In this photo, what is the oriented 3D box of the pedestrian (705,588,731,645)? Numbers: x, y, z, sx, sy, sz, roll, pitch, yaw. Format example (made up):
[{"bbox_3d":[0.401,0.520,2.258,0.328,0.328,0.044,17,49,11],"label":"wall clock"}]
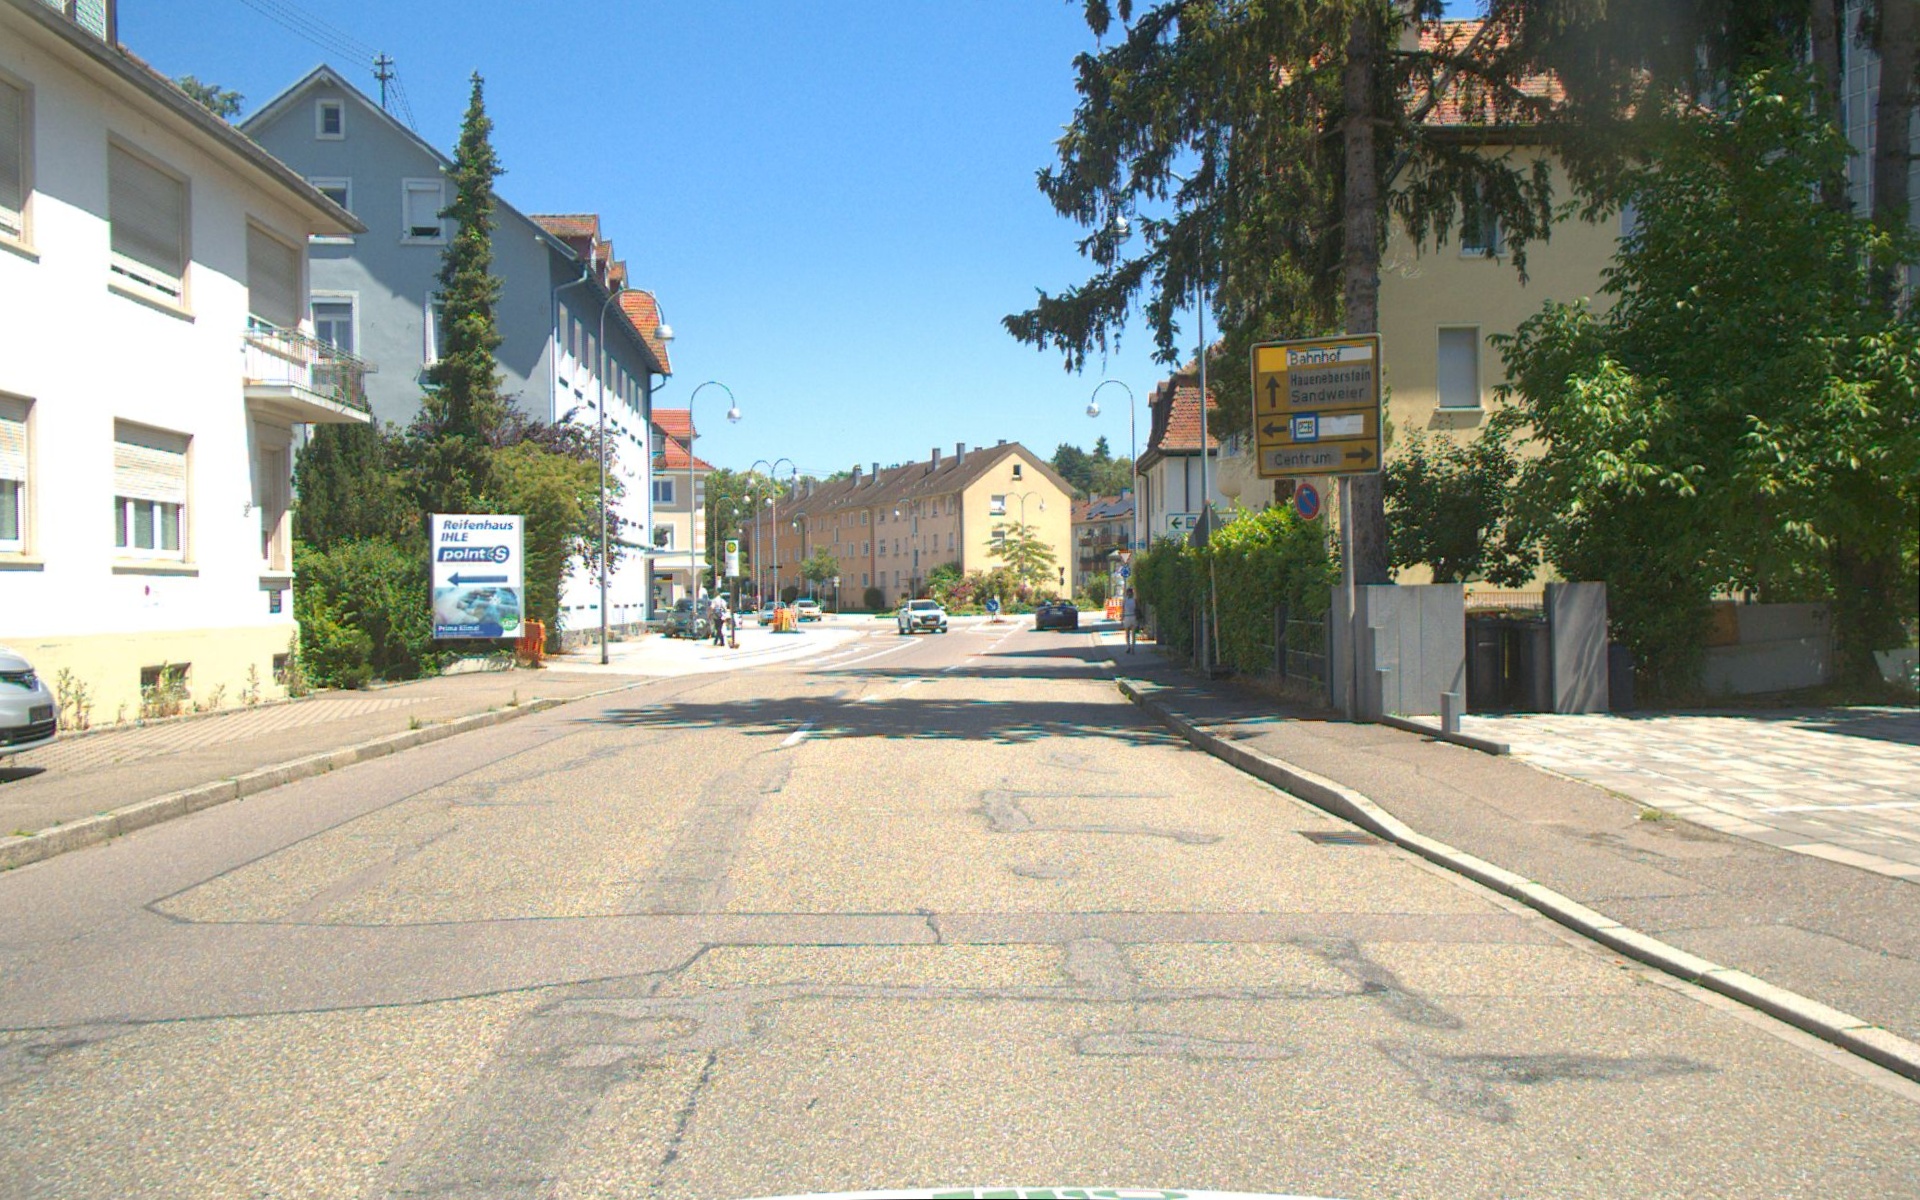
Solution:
[{"bbox_3d":[-8.130,0.546,55.695,0.741,1.880,0.771,2,-1,-4],"label":"pedestrian"}]

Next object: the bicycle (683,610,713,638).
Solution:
[{"bbox_3d":[-9.510,0.870,60.112,0.485,0.994,1.974,3,0,8],"label":"bicycle"}]

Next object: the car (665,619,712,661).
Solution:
[{"bbox_3d":[-10.476,1.545,64.032,1.547,1.561,3.770,-1,-1,-6],"label":"car"}]

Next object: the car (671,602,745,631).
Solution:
[{"bbox_3d":[-14.023,0.900,92.334,4.038,1.578,1.784,0,0,-9],"label":"car"}]

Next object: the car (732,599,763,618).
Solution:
[{"bbox_3d":[-20.418,0.830,158.863,1.789,1.825,3.968,1,-1,-25],"label":"car"}]

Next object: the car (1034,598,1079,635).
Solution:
[{"bbox_3d":[4.261,0.769,73.750,1.832,1.557,4.507,-1,-1,1],"label":"car"}]

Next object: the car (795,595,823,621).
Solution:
[{"bbox_3d":[-10.807,0.563,118.061,1.748,1.777,4.120,0,0,-9],"label":"car"}]

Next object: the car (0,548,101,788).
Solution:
[{"bbox_3d":[-9.825,0.654,13.785,4.272,1.909,1.846,-3,0,-10],"label":"car"}]

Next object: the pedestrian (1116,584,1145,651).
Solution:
[{"bbox_3d":[4.345,0.455,42.128,0.610,1.672,0.772,-2,-1,0],"label":"pedestrian"}]

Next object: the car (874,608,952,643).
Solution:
[{"bbox_3d":[-2.191,1.189,76.351,1.805,1.557,3.901,0,-2,-35],"label":"car"}]
